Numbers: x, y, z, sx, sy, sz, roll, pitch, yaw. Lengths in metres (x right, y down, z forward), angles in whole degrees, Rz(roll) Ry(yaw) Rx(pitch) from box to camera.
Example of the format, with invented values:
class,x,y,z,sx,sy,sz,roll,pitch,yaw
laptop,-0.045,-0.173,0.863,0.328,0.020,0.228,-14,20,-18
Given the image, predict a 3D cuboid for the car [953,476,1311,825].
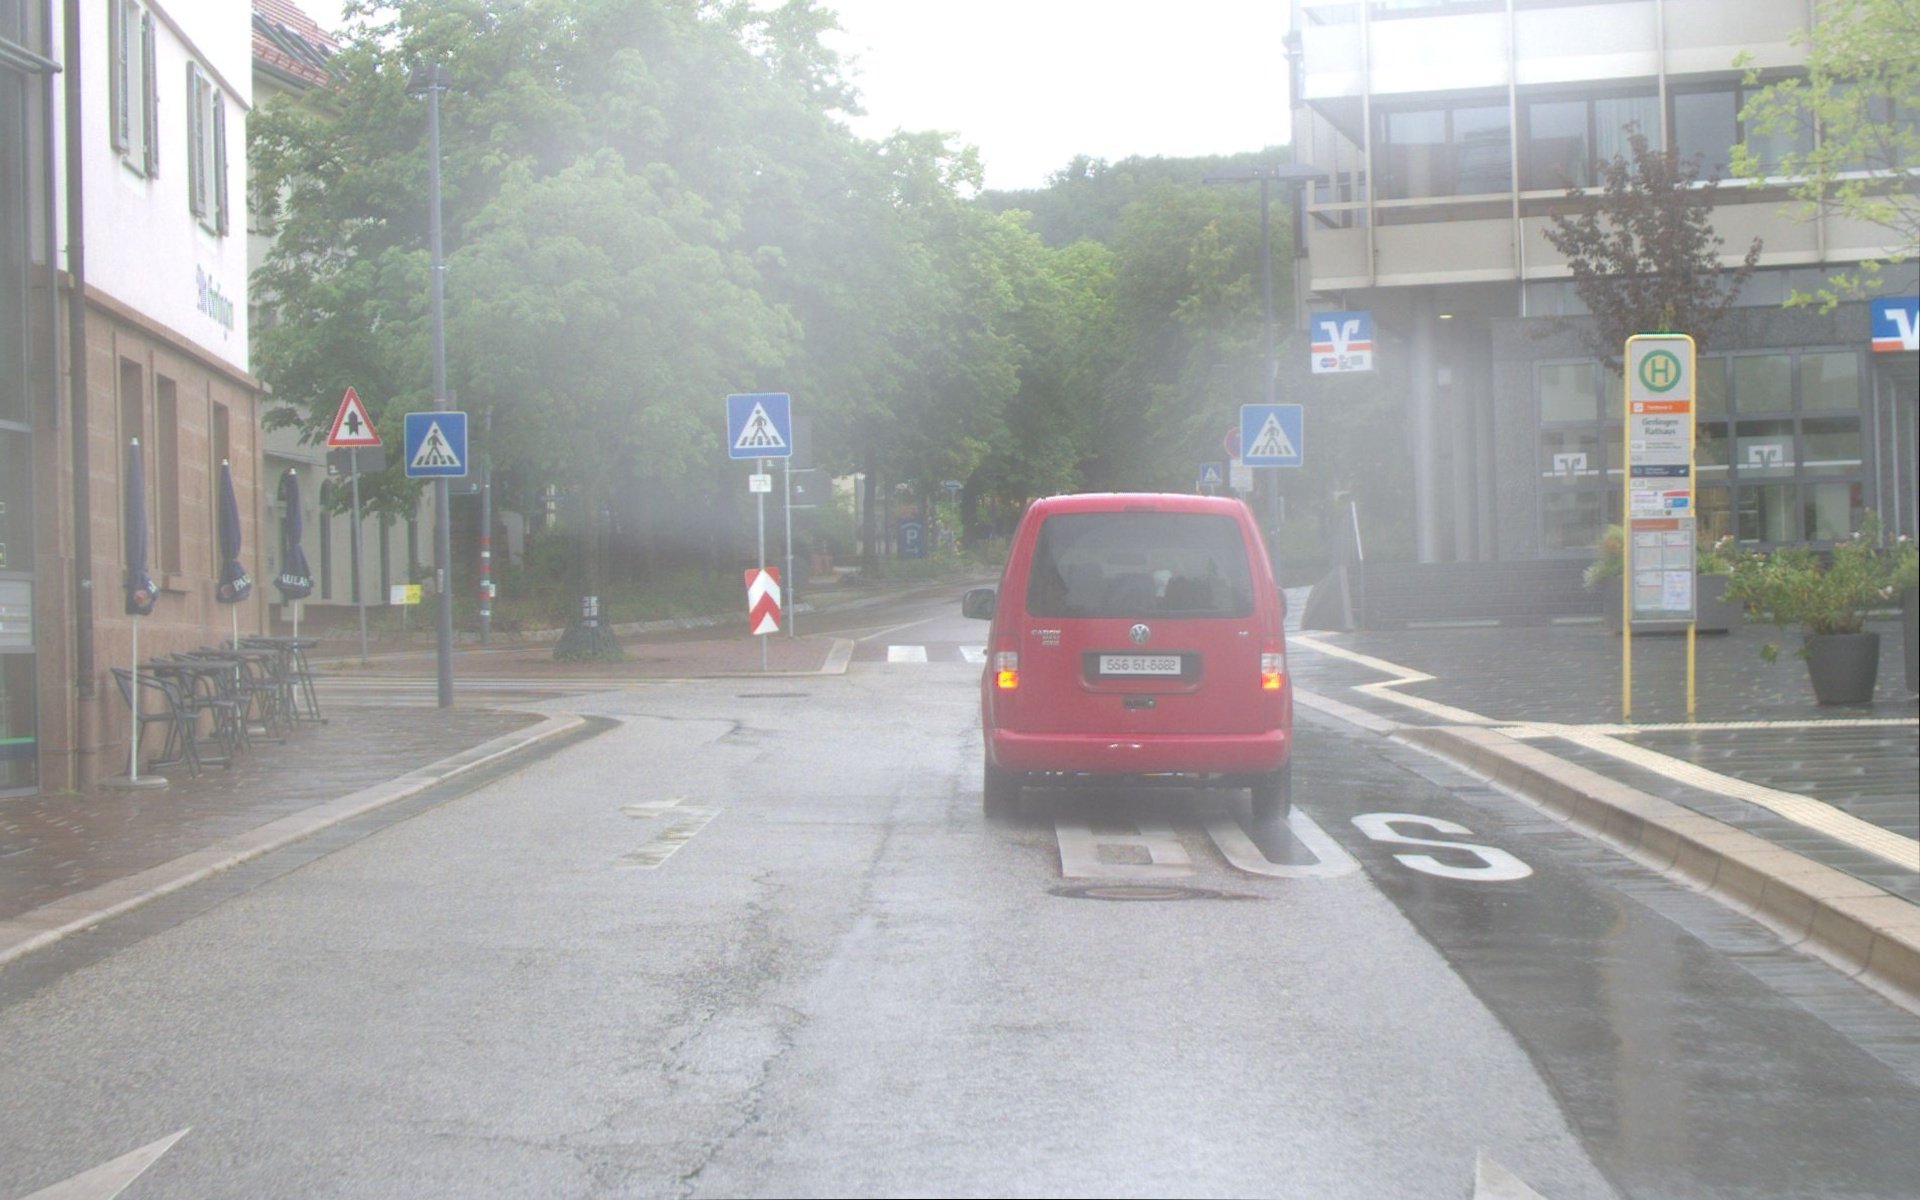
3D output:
class,x,y,z,sx,sy,sz,roll,pitch,yaw
car,0.917,0.259,20.500,1.862,1.824,4.185,-1,0,0
